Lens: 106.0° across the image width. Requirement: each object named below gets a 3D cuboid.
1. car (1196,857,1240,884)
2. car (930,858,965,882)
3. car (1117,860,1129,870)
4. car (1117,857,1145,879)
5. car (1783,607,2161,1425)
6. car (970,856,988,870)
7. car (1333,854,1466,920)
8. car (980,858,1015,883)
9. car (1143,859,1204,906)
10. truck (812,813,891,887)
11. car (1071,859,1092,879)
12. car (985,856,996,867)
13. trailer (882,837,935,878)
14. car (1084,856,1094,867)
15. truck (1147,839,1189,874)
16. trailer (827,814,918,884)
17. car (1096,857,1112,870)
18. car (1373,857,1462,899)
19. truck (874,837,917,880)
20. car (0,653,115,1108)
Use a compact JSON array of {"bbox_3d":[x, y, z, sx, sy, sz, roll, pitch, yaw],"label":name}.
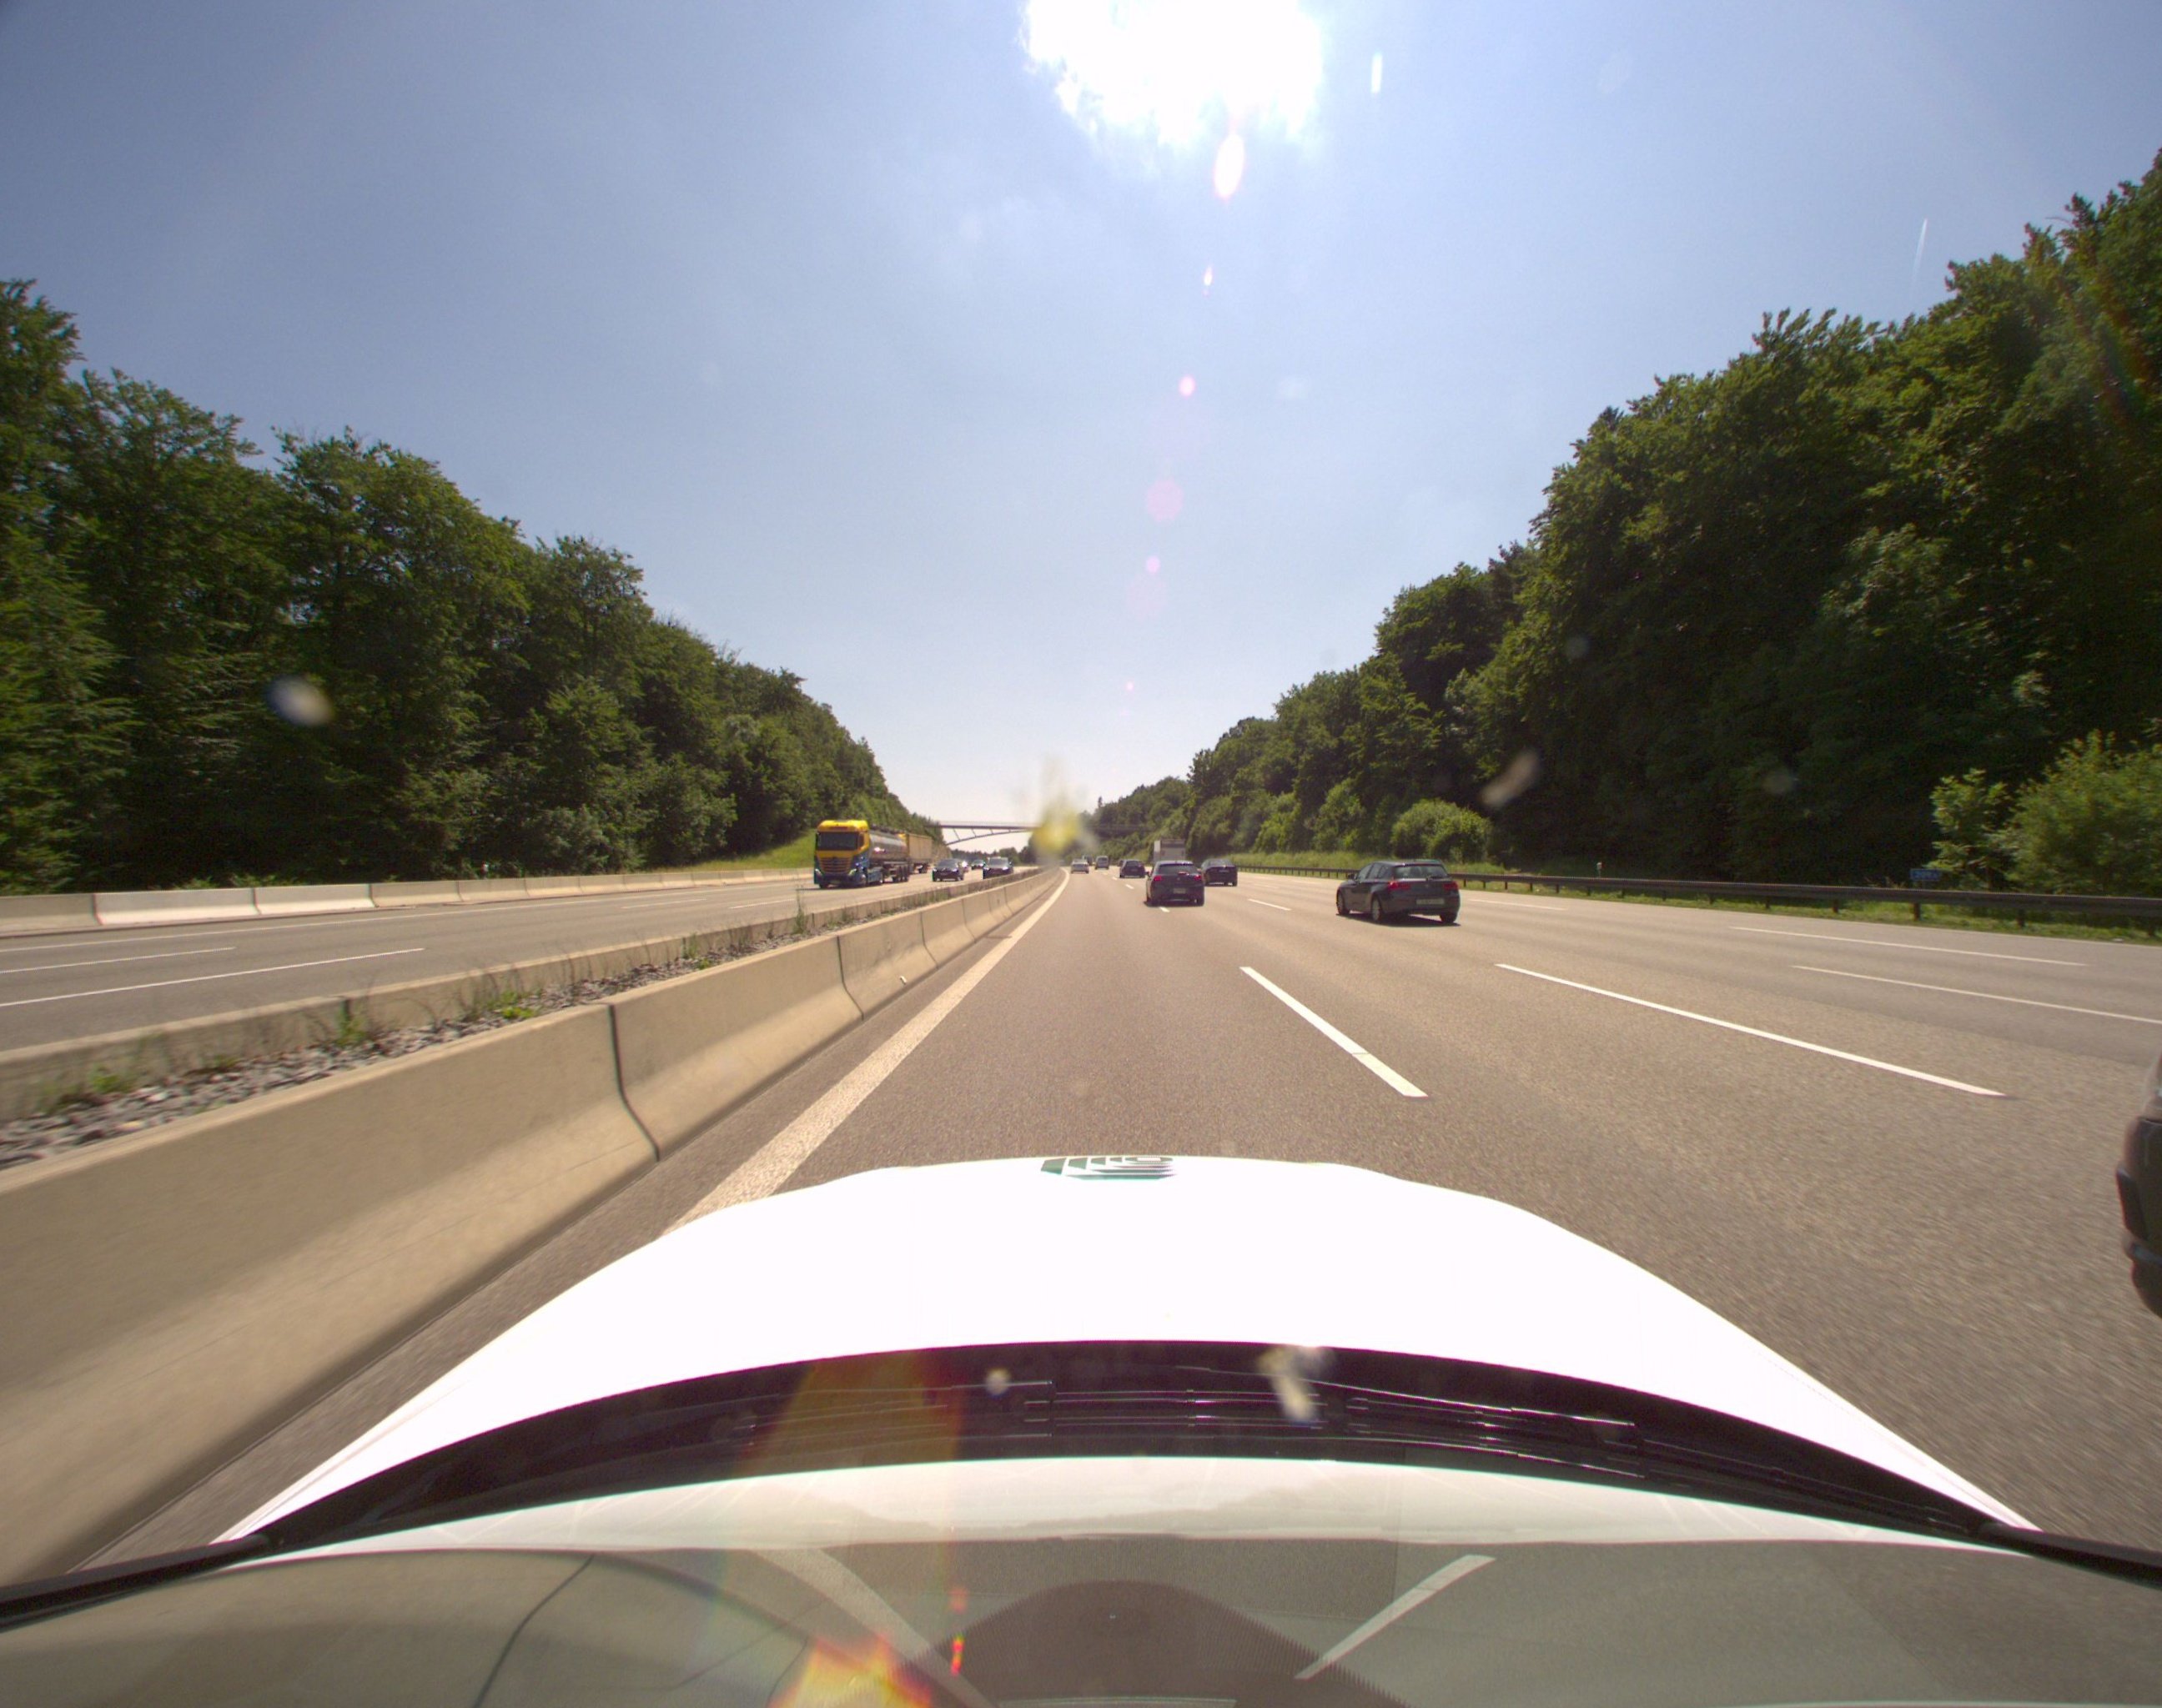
[{"bbox_3d":[7.407,0.854,44.417,1.659,1.408,4.904,0,0,2],"label":"car"},{"bbox_3d":[-9.463,1.110,58.173,1.713,1.644,4.061,0,0,2],"label":"car"},{"bbox_3d":[8.141,2.157,158.793,2.137,1.858,4.001,1,0,1],"label":"car"},{"bbox_3d":[3.869,1.086,63.972,1.986,1.634,4.760,0,0,1],"label":"car"},{"bbox_3d":[3.602,0.388,0.580,1.955,2.033,5.086,0,0,2],"label":"car"},{"bbox_3d":[-14.444,1.335,115.477,1.988,1.872,5.248,1,-2,-1],"label":"car"},{"bbox_3d":[7.440,0.724,19.444,1.695,1.396,4.155,0,-1,2],"label":"car"},{"bbox_3d":[-6.046,1.179,59.388,1.987,1.705,4.953,0,0,1],"label":"car"},{"bbox_3d":[3.037,0.906,27.304,1.701,1.433,4.001,0,-1,1],"label":"car"},{"bbox_3d":[-13.009,-0.187,46.724,2.522,3.940,6.801,0,0,1],"label":"truck"},{"bbox_3d":[0.064,1.564,83.929,2.005,1.846,4.000,0,-4,2],"label":"car"},{"bbox_3d":[-20.153,1.629,181.719,1.988,2.336,5.540,0,0,-1],"label":"car"},{"bbox_3d":[-18.019,0.409,86.130,2.714,4.004,13.719,0,0,-1],"label":"trailer"},{"bbox_3d":[1.717,1.680,186.638,2.258,2.371,4.700,0,-1,0],"label":"car"},{"bbox_3d":[8.304,0.262,78.578,2.977,3.167,7.569,0,0,-2],"label":"truck"},{"bbox_3d":[-12.932,-0.249,51.706,2.529,3.880,11.697,0,0,1],"label":"trailer"},{"bbox_3d":[3.155,1.243,112.841,2.097,1.744,4.685,0,0,-1],"label":"car"},{"bbox_3d":[12.269,0.849,29.990,1.539,1.444,4.341,0,-1,1],"label":"car"},{"bbox_3d":[-17.956,0.411,79.243,2.742,4.017,6.749,0,0,-1],"label":"truck"},{"bbox_3d":[-7.455,0.160,2.199,2.090,2.688,6.308,1,0,0],"label":"car"}]
